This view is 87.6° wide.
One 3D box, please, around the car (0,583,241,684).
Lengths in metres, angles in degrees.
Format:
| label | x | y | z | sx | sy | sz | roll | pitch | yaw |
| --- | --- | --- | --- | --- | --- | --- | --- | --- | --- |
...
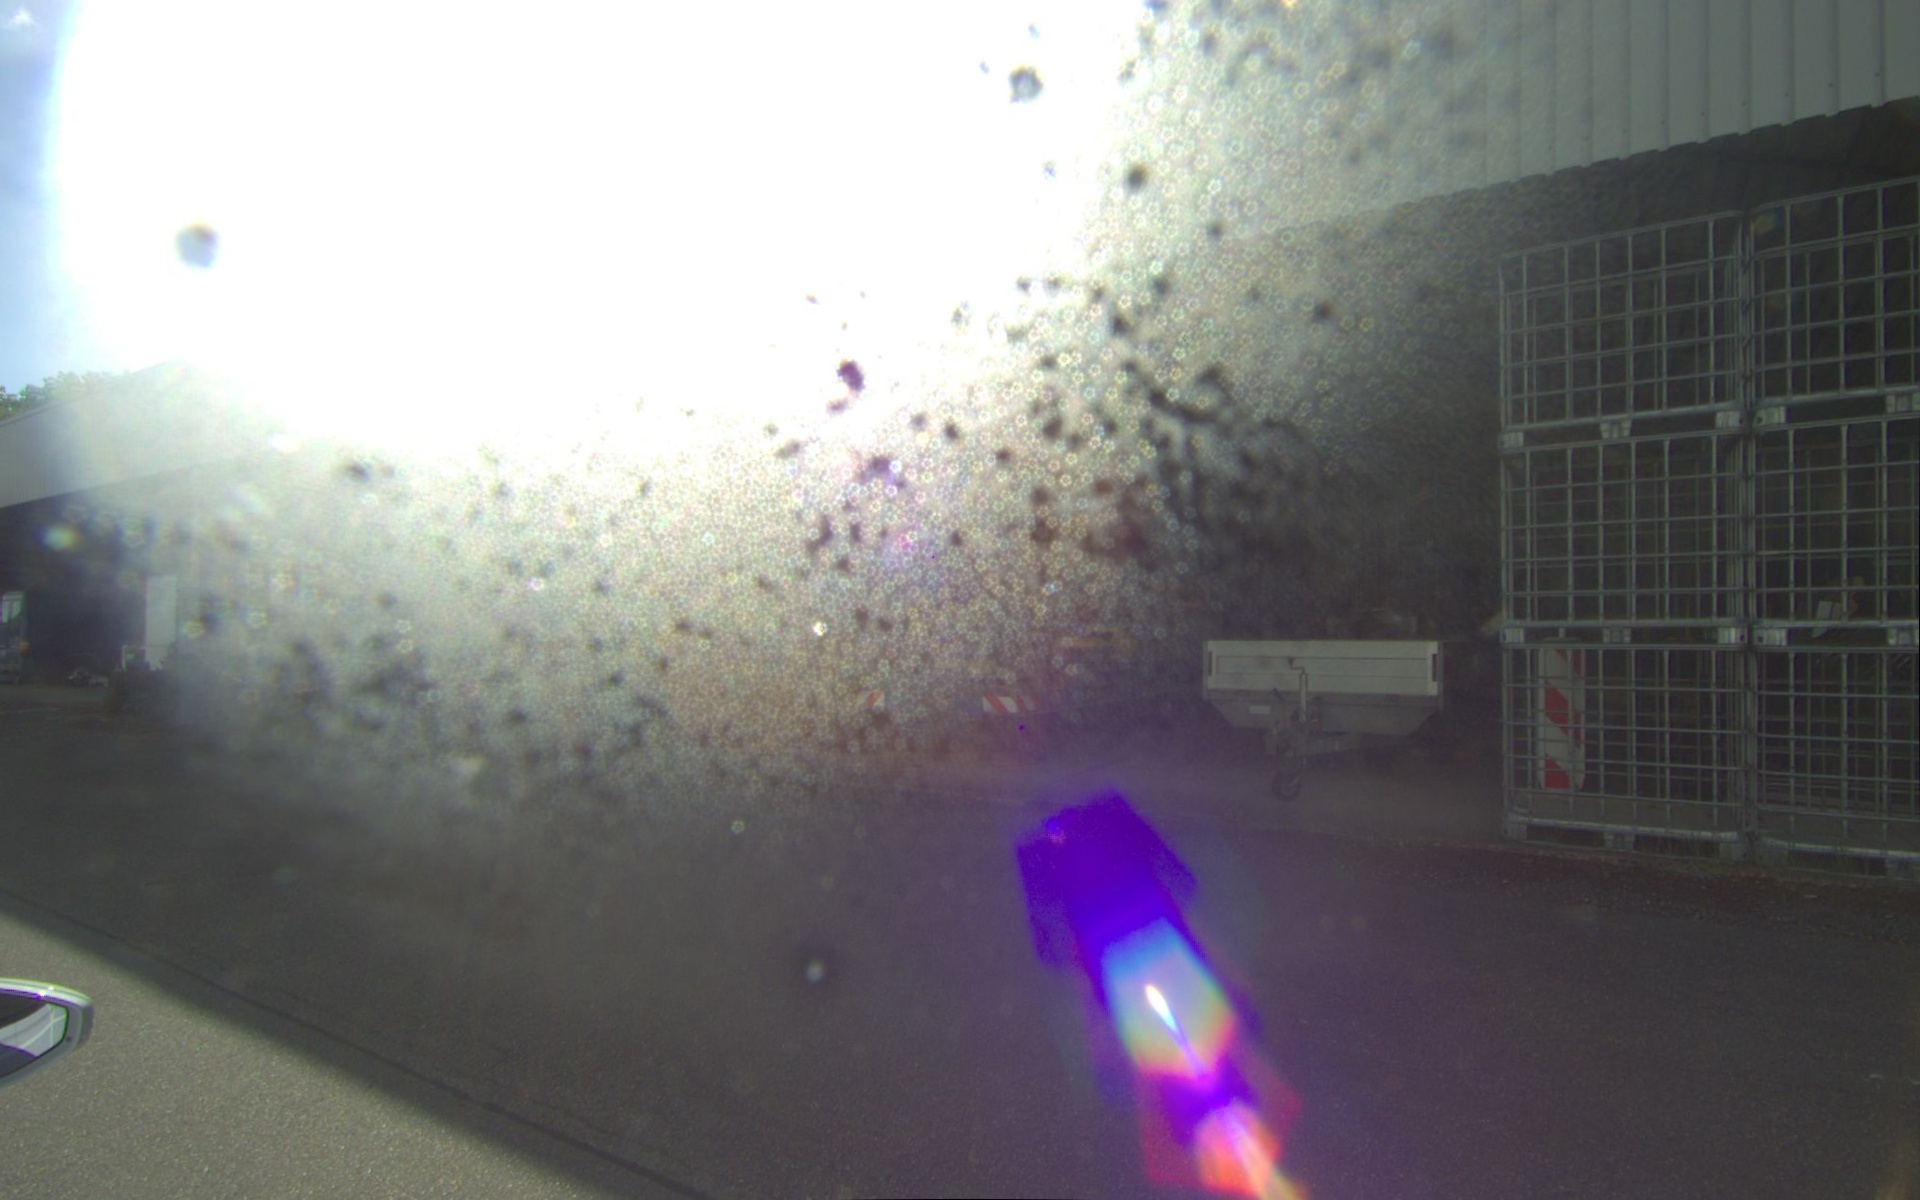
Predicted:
| label | x | y | z | sx | sy | sz | roll | pitch | yaw |
| --- | --- | --- | --- | --- | --- | --- | --- | --- | --- |
| car | -21.389 | 0.936 | 25.645 | 1.890 | 2.337 | 4.425 | -3 | -4 | 33 |

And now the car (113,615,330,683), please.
| label | x | y | z | sx | sy | sz | roll | pitch | yaw |
| --- | --- | --- | --- | --- | --- | --- | --- | --- | --- |
| car | -18.236 | 1.252 | 24.916 | 1.662 | 1.543 | 4.031 | -3 | -5 | 33 |

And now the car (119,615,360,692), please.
| label | x | y | z | sx | sy | sz | roll | pitch | yaw |
| --- | --- | --- | --- | --- | --- | --- | --- | --- | --- |
| car | -15.897 | 1.226 | 22.299 | 1.662 | 1.543 | 4.031 | -3 | -5 | 33 |

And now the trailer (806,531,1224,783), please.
| label | x | y | z | sx | sy | sz | roll | pitch | yaw |
| --- | --- | --- | --- | --- | --- | --- | --- | --- | --- |
| trailer | 0.993 | 0.523 | 11.161 | 2.049 | 2.058 | 5.753 | -1 | -1 | 33 |

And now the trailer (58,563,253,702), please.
| label | x | y | z | sx | sy | sz | roll | pitch | yaw |
| --- | --- | --- | --- | --- | --- | --- | --- | --- | --- |
| trailer | -15.282 | 0.630 | 19.099 | 1.703 | 2.429 | 2.518 | -2 | -2 | 33 |

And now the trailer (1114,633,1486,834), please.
| label | x | y | z | sx | sy | sz | roll | pitch | yaw |
| --- | --- | --- | --- | --- | --- | --- | --- | --- | --- |
| trailer | 3.485 | 0.917 | 9.180 | 2.110 | 1.148 | 5.840 | -1 | -1 | 30 |
